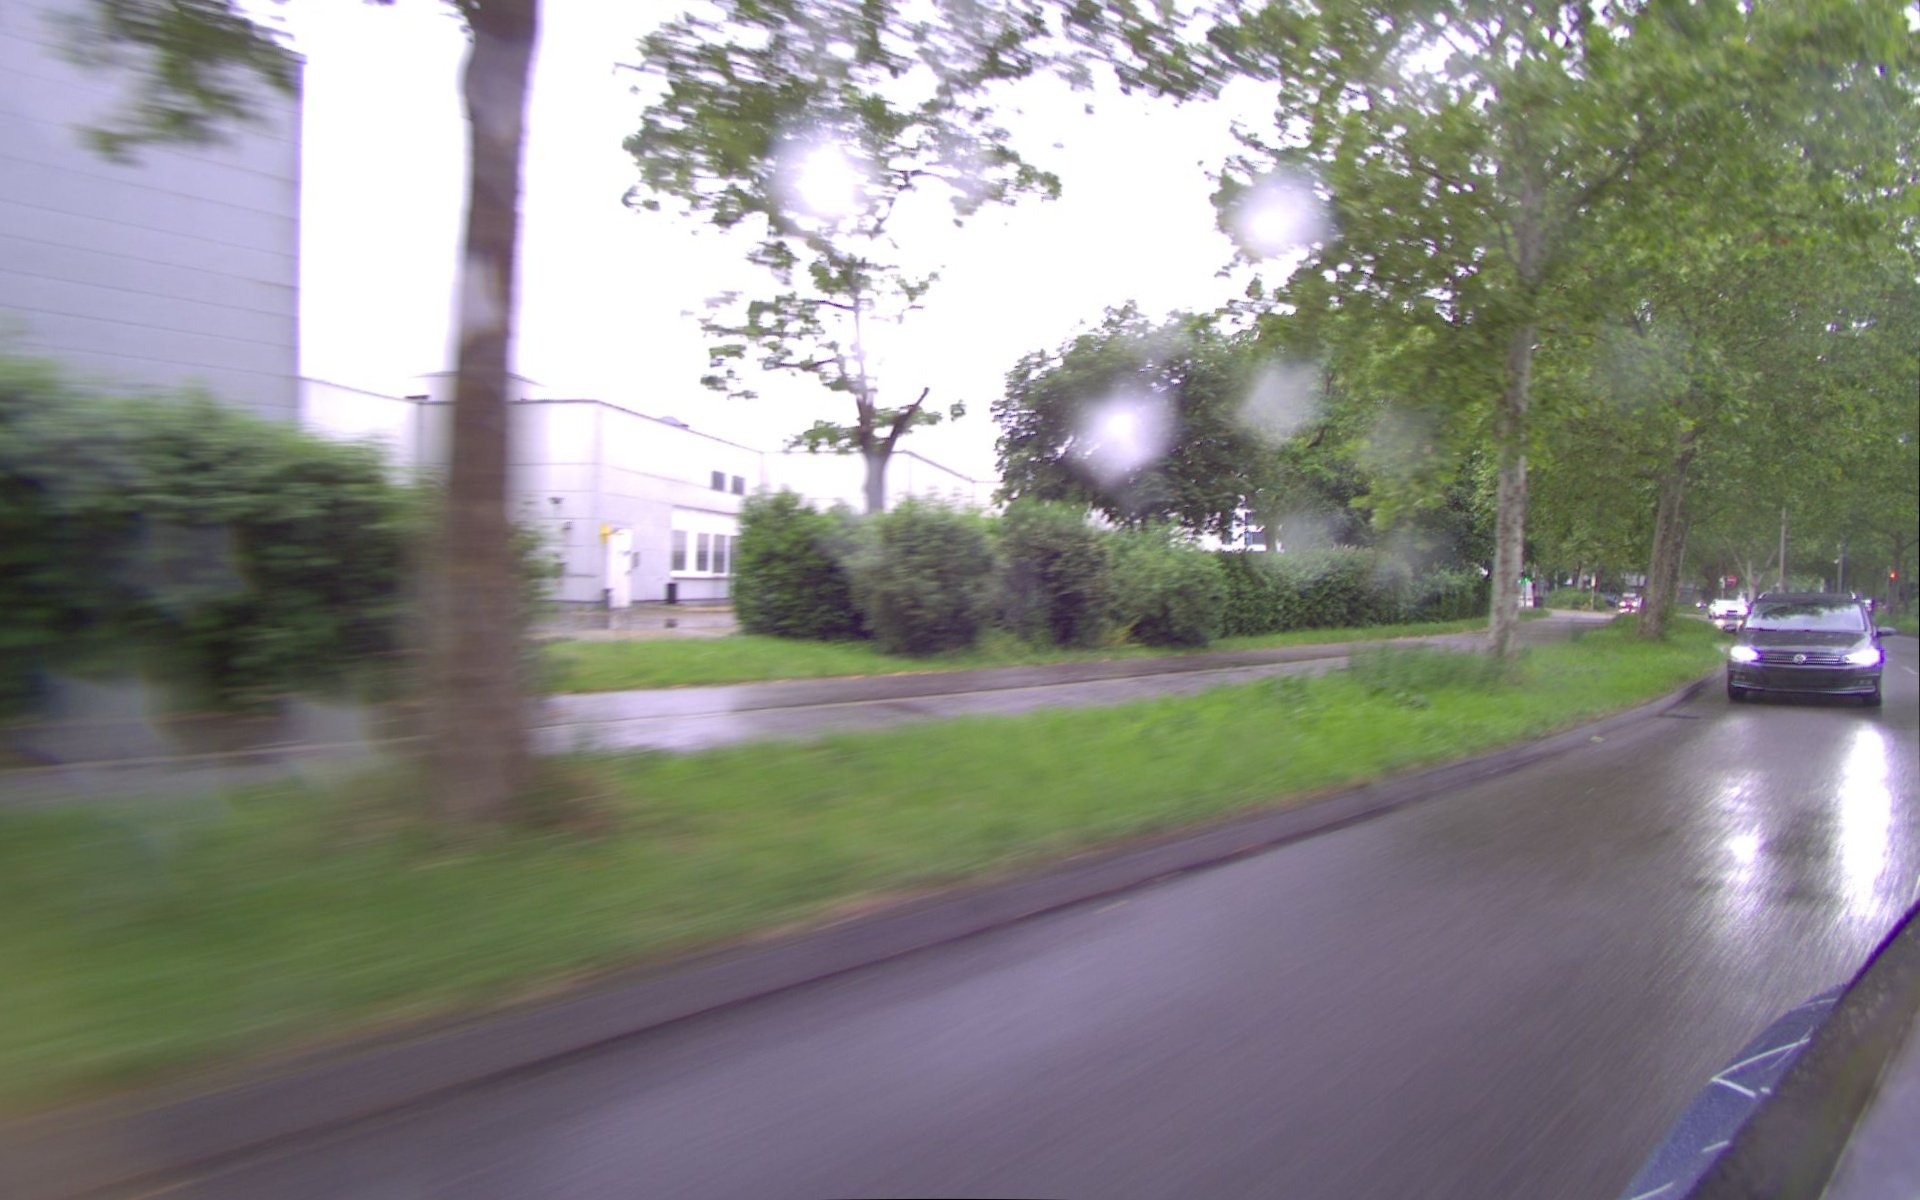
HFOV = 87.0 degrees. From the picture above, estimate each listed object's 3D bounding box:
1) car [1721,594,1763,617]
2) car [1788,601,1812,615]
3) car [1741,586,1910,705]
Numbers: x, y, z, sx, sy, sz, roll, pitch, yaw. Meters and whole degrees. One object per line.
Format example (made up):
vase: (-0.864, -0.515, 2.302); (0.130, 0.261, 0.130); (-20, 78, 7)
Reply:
car: (54.644, 0.383, 70.794); (1.771, 1.575, 3.957); (2, 0, 30)
car: (103.632, 0.938, 124.838); (1.772, 1.575, 3.953); (2, 1, 33)
car: (13.386, 0.615, 15.830); (1.776, 1.575, 3.944); (2, 1, 38)
